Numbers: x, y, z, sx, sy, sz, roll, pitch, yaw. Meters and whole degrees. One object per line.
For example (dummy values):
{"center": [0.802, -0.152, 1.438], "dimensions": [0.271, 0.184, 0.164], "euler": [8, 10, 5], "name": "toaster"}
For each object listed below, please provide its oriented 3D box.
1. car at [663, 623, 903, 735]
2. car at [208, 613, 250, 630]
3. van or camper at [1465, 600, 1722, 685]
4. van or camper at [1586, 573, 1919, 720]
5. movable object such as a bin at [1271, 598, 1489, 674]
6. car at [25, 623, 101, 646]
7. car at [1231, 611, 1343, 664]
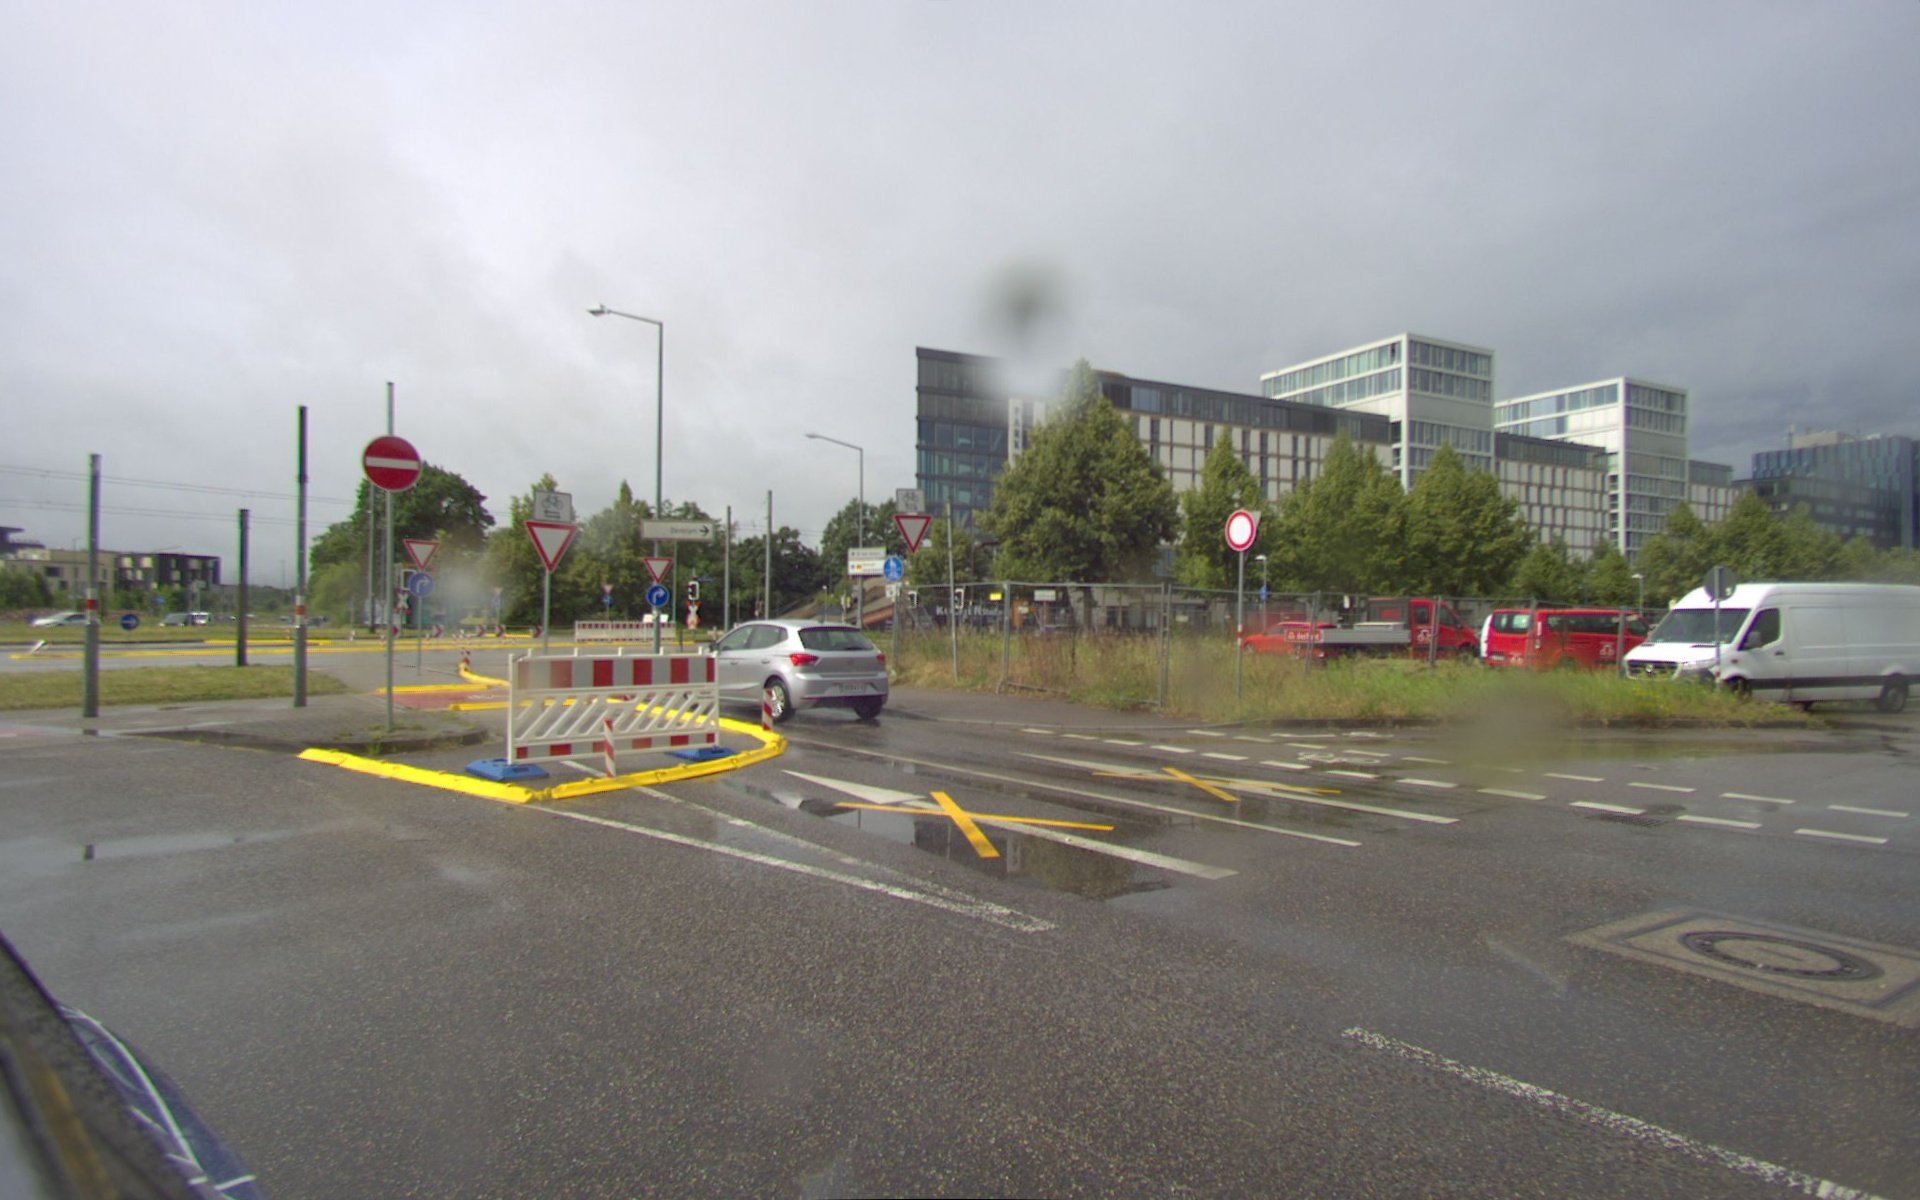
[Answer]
{"center": [-2.804, 1.075, 15.344], "dimensions": [1.716, 1.425, 4.186], "euler": [1, -1, -40], "name": "car"}
{"center": [-65.355, 1.933, 90.549], "dimensions": [1.643, 1.542, 3.486], "euler": [0, -2, -8], "name": "car"}
{"center": [17.659, 1.157, 28.295], "dimensions": [6.290, 2.205, 2.447], "euler": [0, -1, -16], "name": "van or camper"}
{"center": [16.564, 0.898, 20.556], "dimensions": [6.864, 2.667, 2.518], "euler": [0, -1, -16], "name": "van or camper"}
{"center": [14.156, 1.199, 34.236], "dimensions": [6.502, 2.405, 2.684], "euler": [0, -1, -16], "name": "movable object such as a bin"}
{"center": [-63.581, 2.424, 71.820], "dimensions": [1.647, 1.542, 4.114], "euler": [-1, -1, 3], "name": "car"}
{"center": [13.095, 1.478, 40.789], "dimensions": [1.966, 2.029, 4.012], "euler": [1, -2, -30], "name": "car"}
